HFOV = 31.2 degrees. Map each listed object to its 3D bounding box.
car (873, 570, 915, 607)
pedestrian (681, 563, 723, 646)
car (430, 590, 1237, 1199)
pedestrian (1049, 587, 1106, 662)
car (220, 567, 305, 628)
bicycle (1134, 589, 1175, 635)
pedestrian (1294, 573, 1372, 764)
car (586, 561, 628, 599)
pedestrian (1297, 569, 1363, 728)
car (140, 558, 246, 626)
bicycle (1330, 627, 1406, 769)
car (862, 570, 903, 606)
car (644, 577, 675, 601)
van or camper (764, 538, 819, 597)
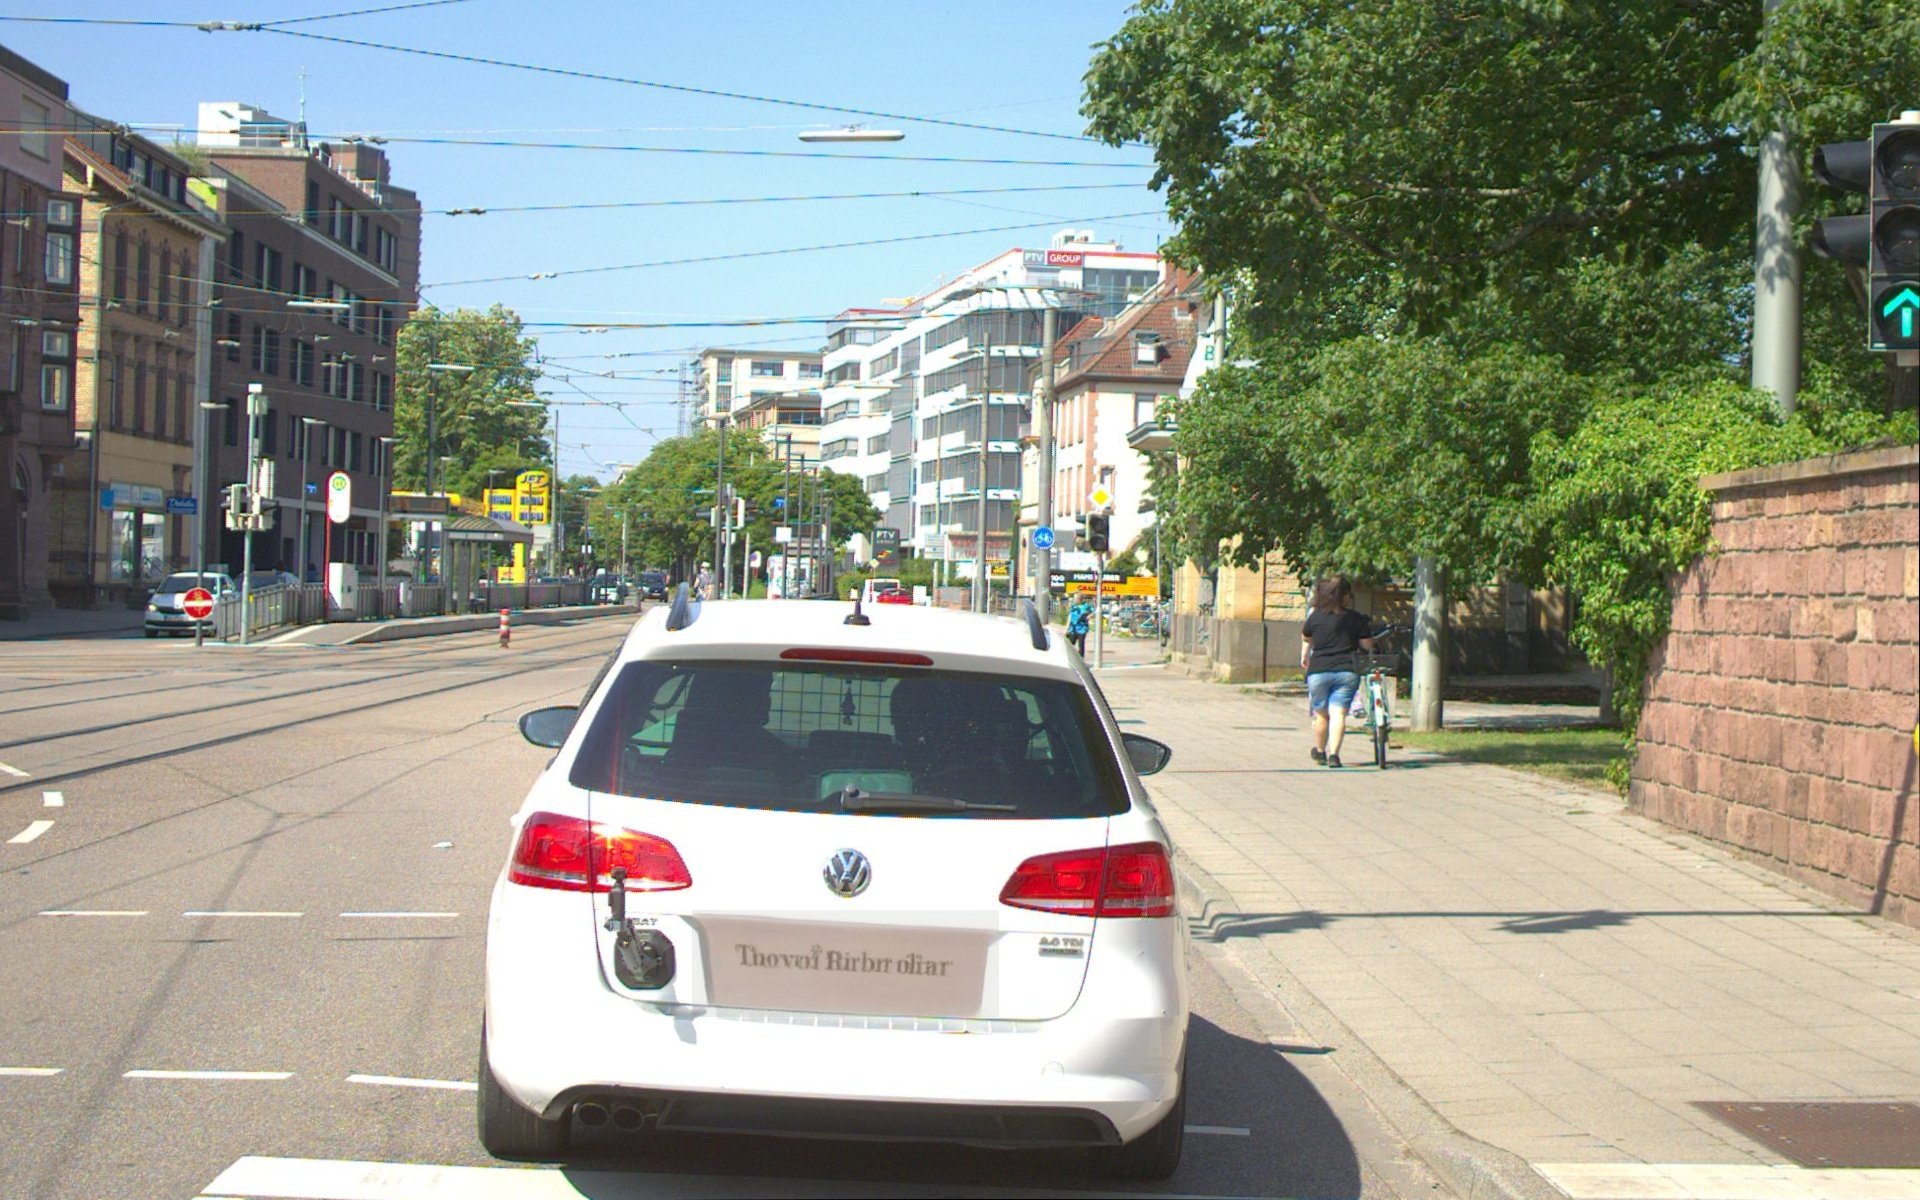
[{"bbox_3d":[-3.666,-0.646,190.288,1.993,2.007,4.001,2,0,-5],"label":"car"},{"bbox_3d":[-5.708,0.104,76.067,0.826,1.803,0.833,1,0,0],"label":"pedestrian"},{"bbox_3d":[-0.301,0.707,9.552,1.752,1.413,3.853,2,0,-1],"label":"car"},{"bbox_3d":[2.416,0.505,70.575,0.857,1.505,0.780,2,0,33],"label":"pedestrian"},{"bbox_3d":[-17.427,-0.073,86.004,1.572,1.454,3.815,1,0,-4],"label":"car"},{"bbox_3d":[4.979,0.307,87.883,0.726,1.135,2.193,2,0,12],"label":"bicycle"},{"bbox_3d":[3.065,0.554,28.283,0.540,1.543,0.663,-1,0,-1],"label":"pedestrian"},{"bbox_3d":[-19.140,-1.078,186.568,1.993,2.007,4.000,0,0,-2],"label":"car"},{"bbox_3d":[3.977,0.511,36.939,0.650,1.676,0.707,2,0,7],"label":"pedestrian"},{"bbox_3d":[-17.421,-0.180,78.249,1.625,1.426,3.963,3,0,-2],"label":"car"},{"bbox_3d":[3.337,0.784,28.035,0.536,1.107,1.806,1,0,9],"label":"bicycle"},{"bbox_3d":[-4.412,-0.685,195.704,1.993,2.007,4.001,2,0,-5],"label":"car"},{"bbox_3d":[-19.187,-0.696,219.388,1.667,1.461,3.773,2,0,-1],"label":"car"},{"bbox_3d":[-9.456,-1.802,192.621,2.943,3.169,6.614,2,0,-3],"label":"van or camper"}]
